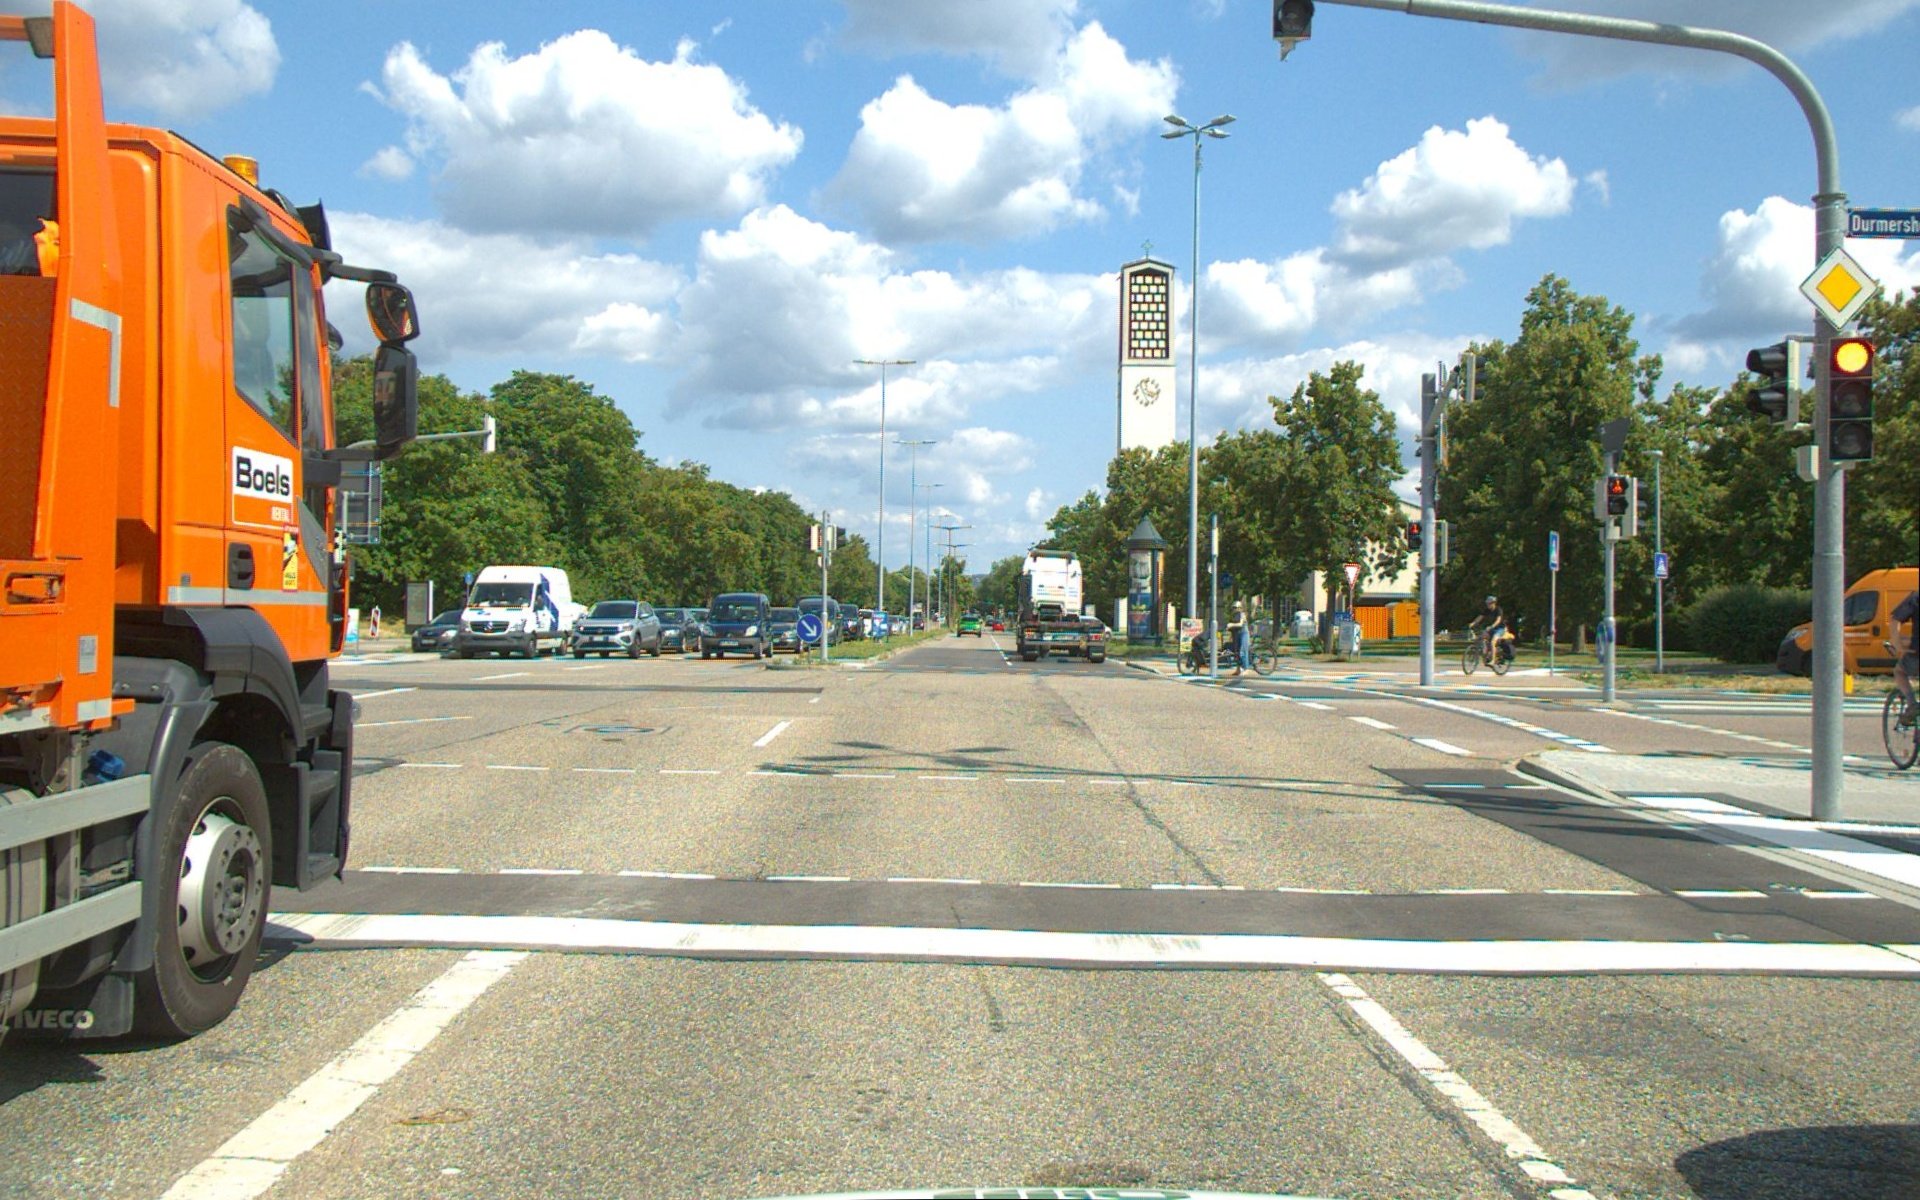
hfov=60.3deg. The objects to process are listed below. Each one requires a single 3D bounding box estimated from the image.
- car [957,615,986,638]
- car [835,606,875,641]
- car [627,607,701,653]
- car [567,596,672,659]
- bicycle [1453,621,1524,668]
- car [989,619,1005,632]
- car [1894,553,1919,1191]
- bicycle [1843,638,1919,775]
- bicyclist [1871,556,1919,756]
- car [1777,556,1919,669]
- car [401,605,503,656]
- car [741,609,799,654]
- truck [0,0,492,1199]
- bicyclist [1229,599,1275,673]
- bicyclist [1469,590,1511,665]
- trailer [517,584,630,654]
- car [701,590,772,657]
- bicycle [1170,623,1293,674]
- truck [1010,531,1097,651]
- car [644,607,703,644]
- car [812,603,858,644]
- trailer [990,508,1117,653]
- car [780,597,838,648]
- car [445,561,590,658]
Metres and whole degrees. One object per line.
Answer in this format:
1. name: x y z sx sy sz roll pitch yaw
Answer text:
1. car: 0.822 1.912 120.781 1.953 1.579 3.999 3 -1 -1
2. car: -5.362 1.187 84.937 1.699 1.689 4.231 3 -1 0
3. car: -9.248 0.922 51.894 1.728 1.375 3.518 1 -1 -1
4. car: -9.358 0.754 45.725 1.698 1.570 4.310 2 -1 4
5. bicycle: 13.085 1.099 40.930 1.982 1.113 0.676 1 -1 -38
6. car: 4.906 3.359 220.607 1.953 1.579 3.999 3 -1 -1
7. car: 3.363 0.691 2.252 1.763 1.579 3.998 3 -1 -2
8. bicycle: 8.400 0.913 14.524 0.634 1.127 1.929 2 -1 13
9. bicyclist: 8.374 0.490 14.341 0.634 1.690 0.650 2 -1 13
10. car: 20.113 0.311 35.059 4.758 2.264 2.205 2 -1 33
11. car: -16.851 0.999 55.109 1.952 1.557 4.001 3 -1 2
12. car: -6.032 0.992 52.810 1.537 1.339 3.430 3 -1 -3
13. truck: -3.376 -0.492 1.203 3.009 3.474 11.064 3 -1 -1
14. bicyclist: 6.671 0.816 37.786 0.689 1.644 0.791 1 0 -24
15. bicyclist: 13.125 0.670 40.959 0.781 1.836 0.677 1 -1 -37
16. trailer: -12.303 0.617 53.027 2.080 2.049 5.163 2 -1 3
17. car: -6.108 0.637 45.546 1.701 1.689 4.226 3 -1 -5
18. bicycle: 6.167 1.102 37.560 2.796 1.131 0.791 1 0 -25
19. truck: 3.475 -0.230 60.907 2.897 4.040 8.641 1 -1 3
20. car: -11.222 0.995 64.982 1.728 1.375 3.518 1 -1 -1
21. car: -5.514 1.035 73.450 1.699 1.689 4.230 3 -1 -1
22. trailer: 3.001 -0.450 52.863 3.544 4.082 11.323 1 -1 4
23. car: -5.464 0.781 60.277 1.699 1.689 4.231 3 0 0
24. car: -12.549 0.289 47.418 2.128 2.514 5.969 2 -1 3
